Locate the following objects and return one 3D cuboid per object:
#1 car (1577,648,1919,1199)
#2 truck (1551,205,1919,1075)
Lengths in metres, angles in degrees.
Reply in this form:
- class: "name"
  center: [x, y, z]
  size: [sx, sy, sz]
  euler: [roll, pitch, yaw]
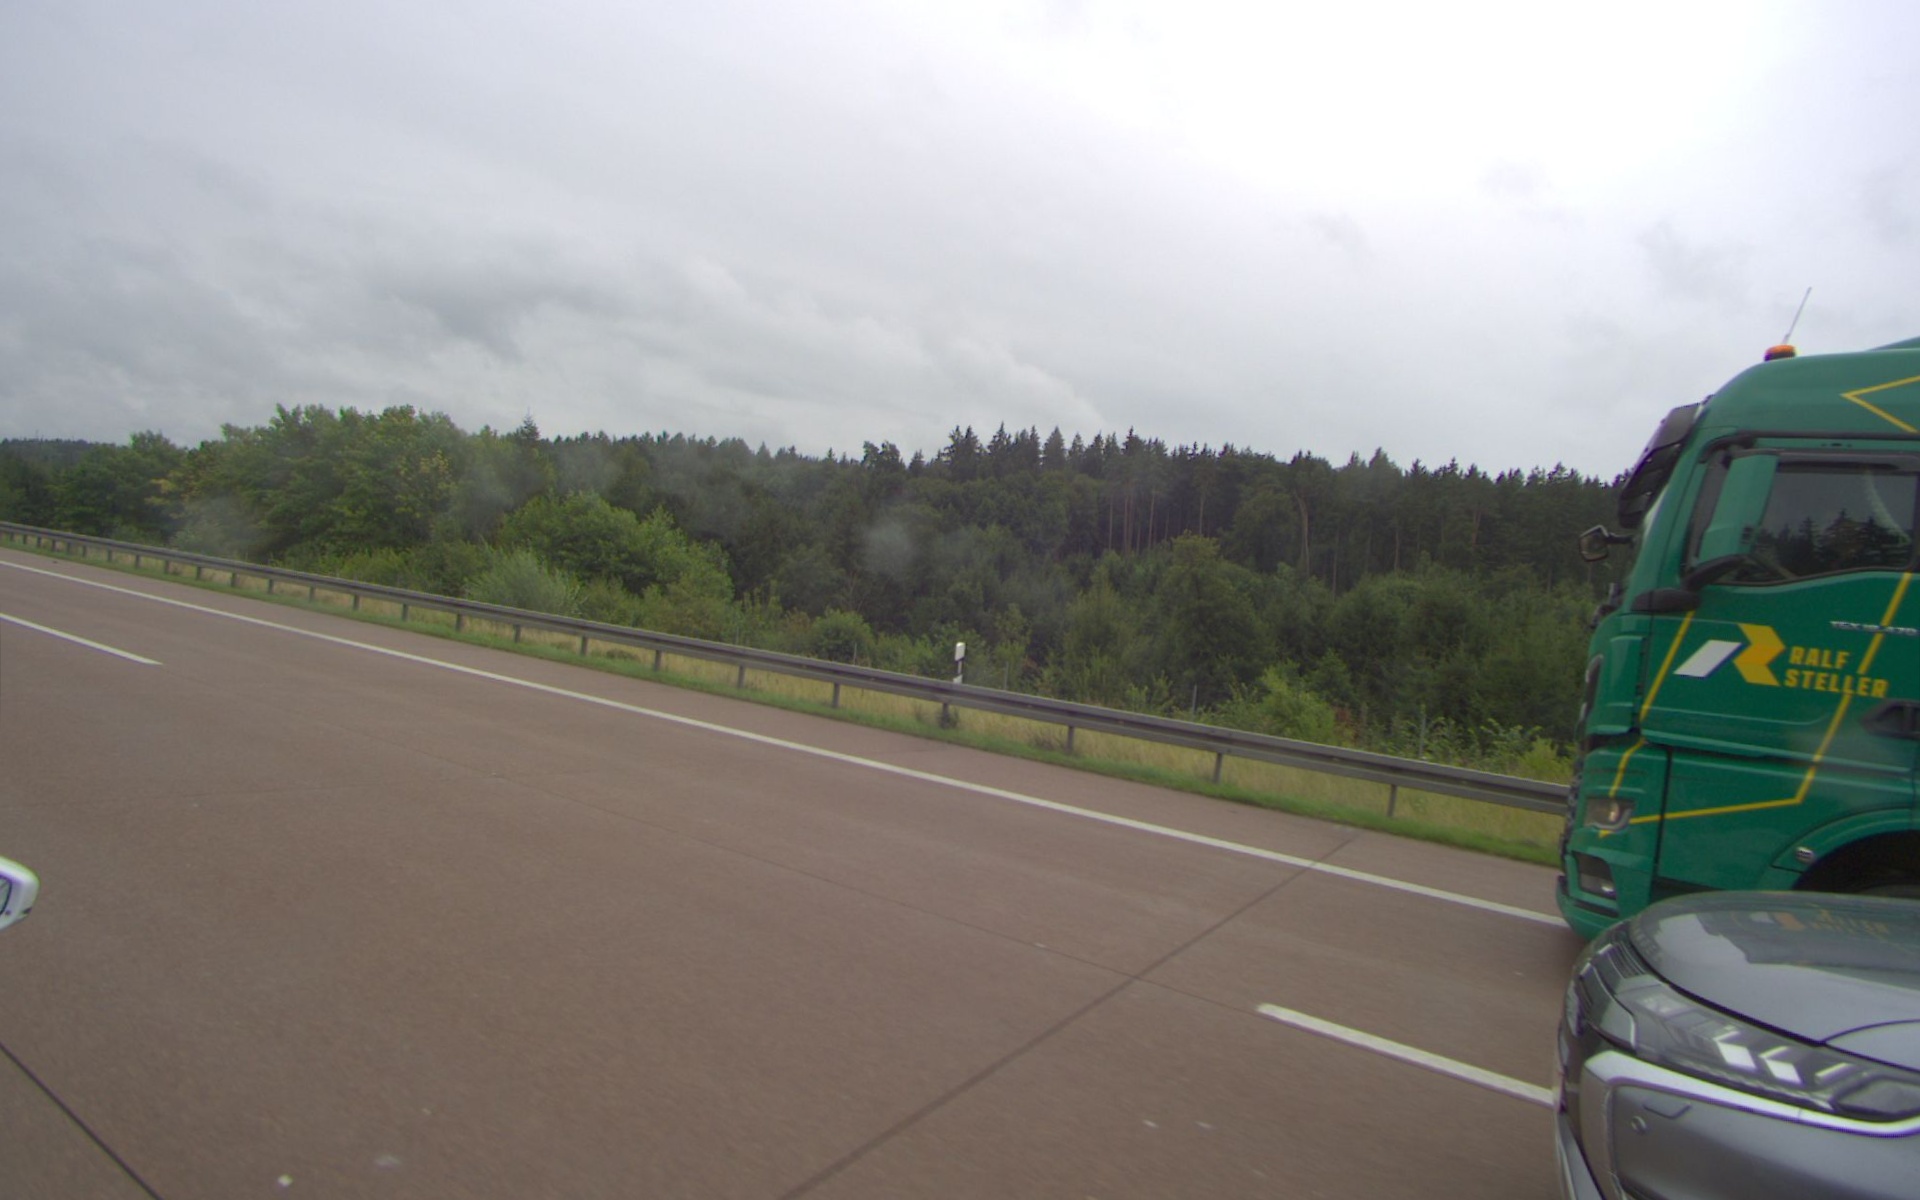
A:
- class: "car"
  center: [4.211, 1.214, 1.248]
  size: [5.724, 1.611, 1.998]
  euler: [5, -3, 32]
- class: "truck"
  center: [7.020, 0.457, 4.794]
  size: [6.871, 4.010, 2.904]
  euler: [5, -2, 30]
